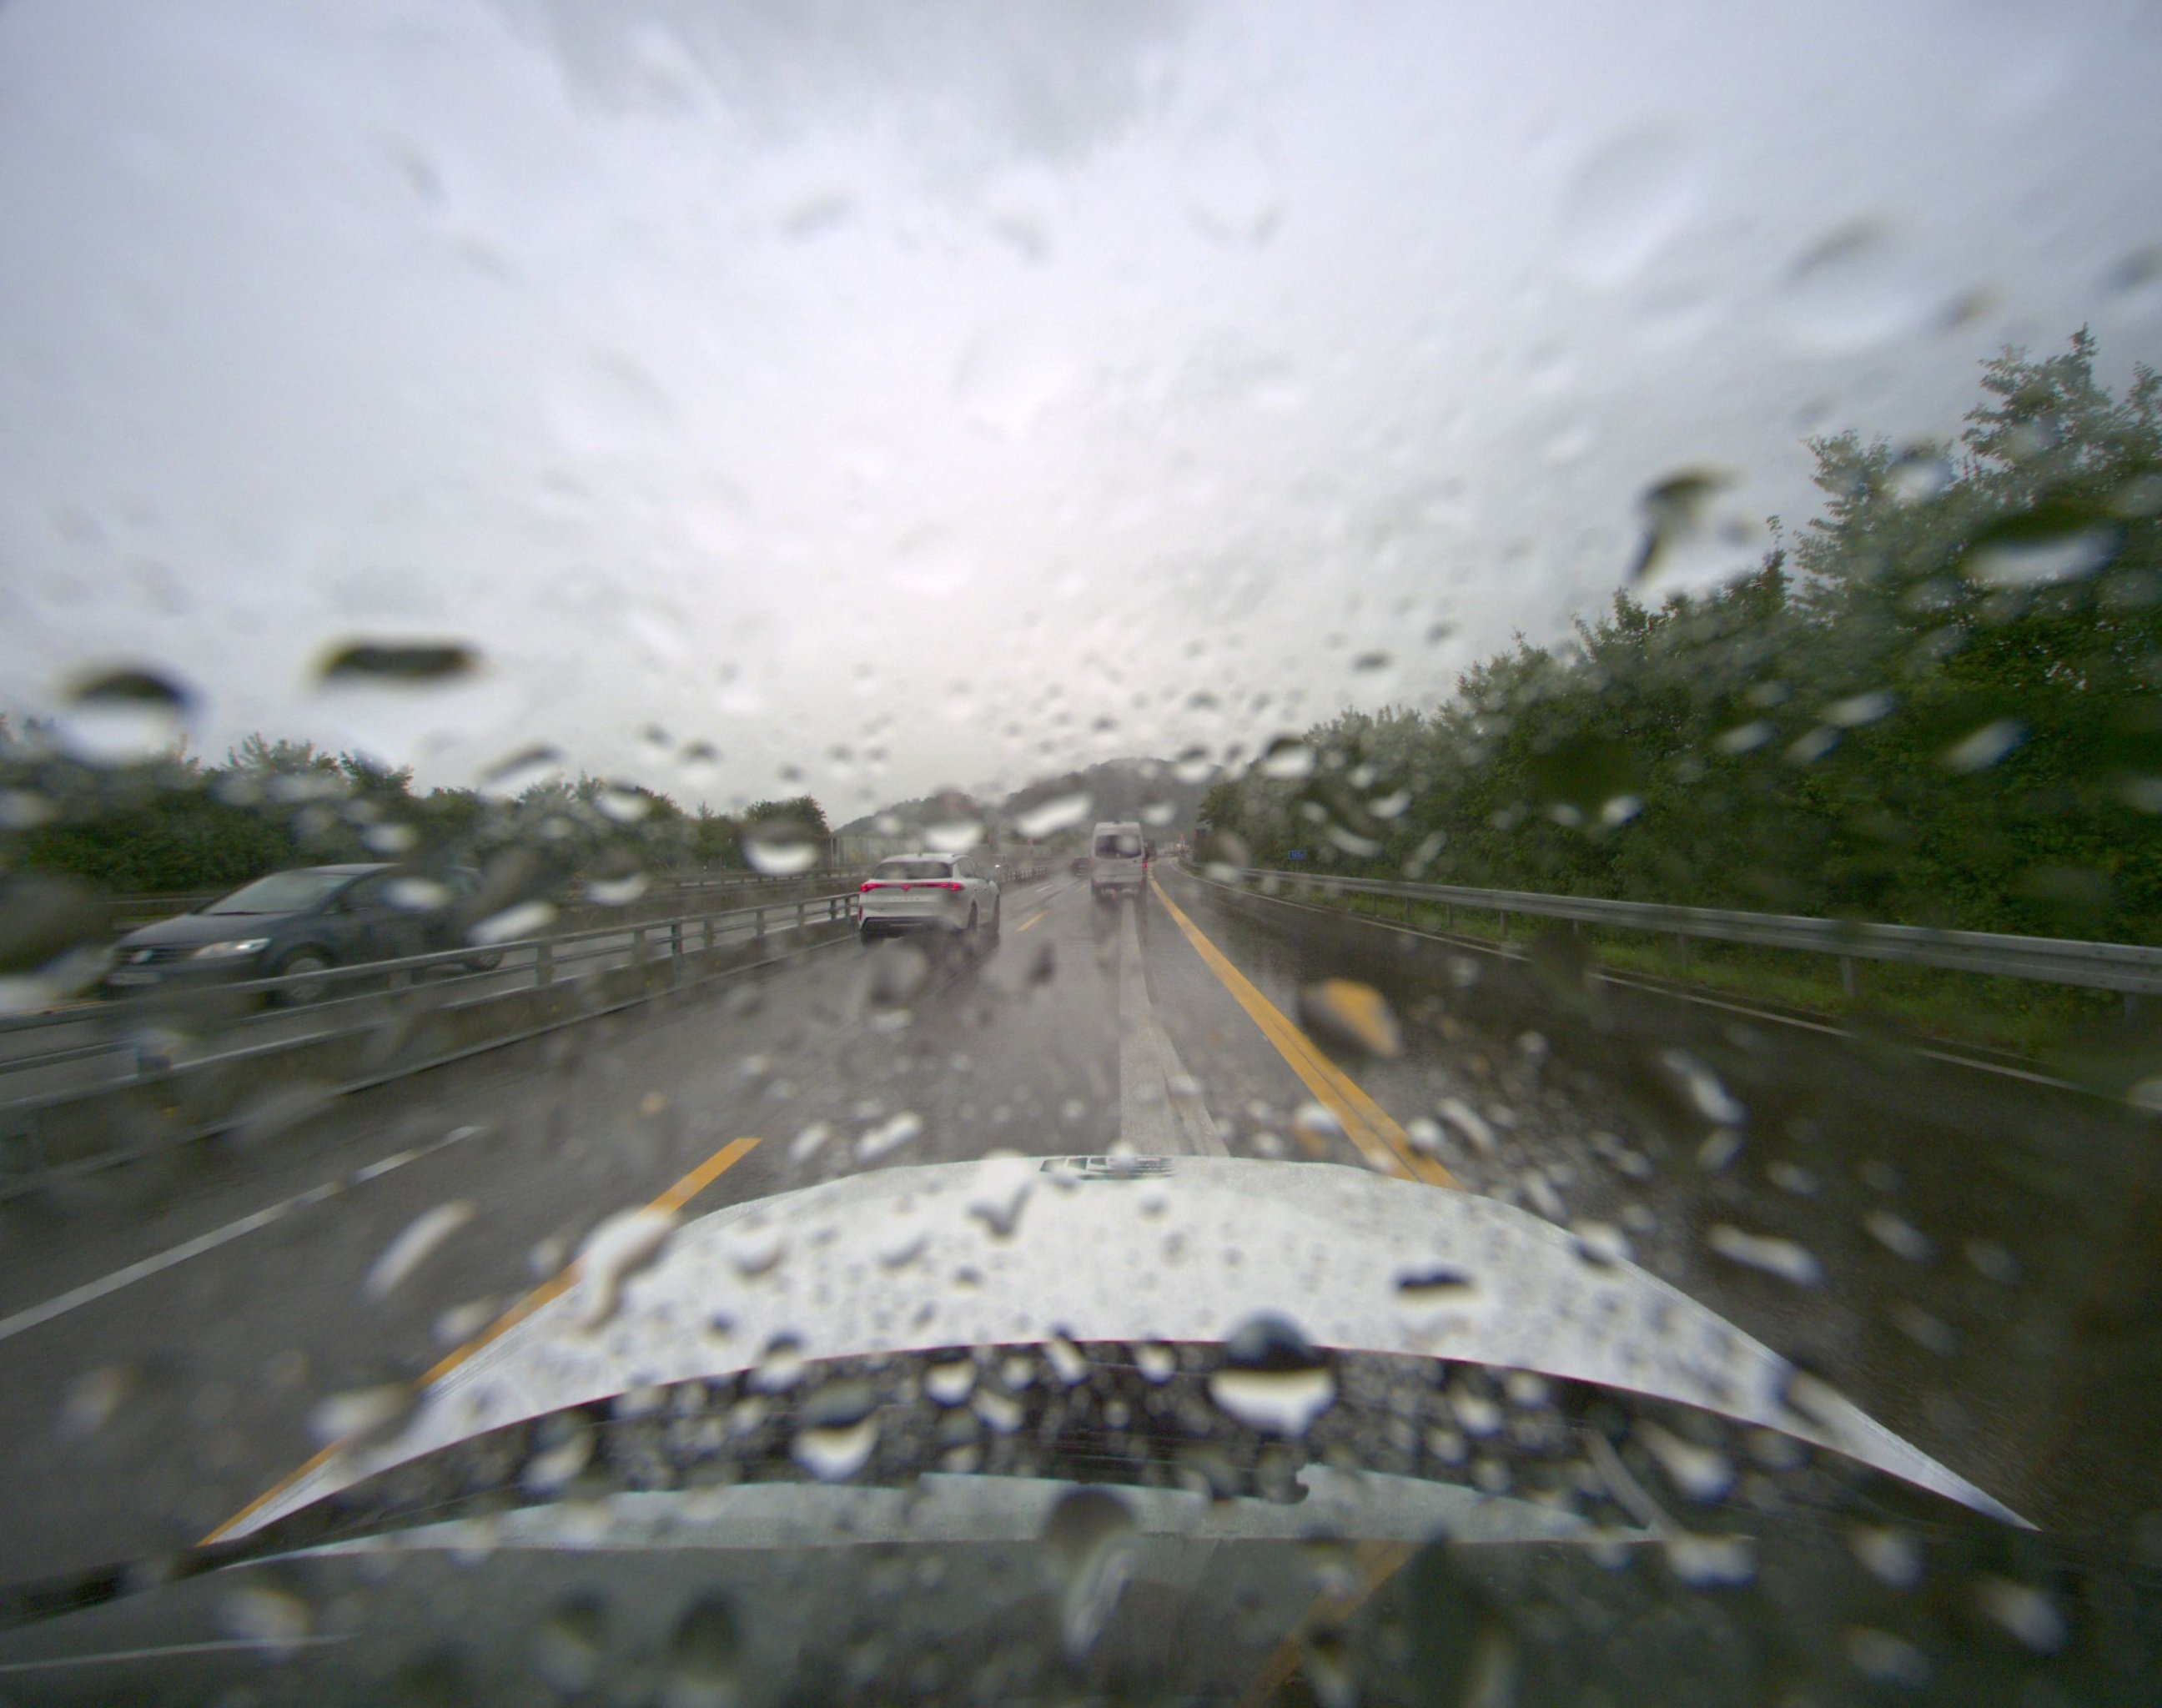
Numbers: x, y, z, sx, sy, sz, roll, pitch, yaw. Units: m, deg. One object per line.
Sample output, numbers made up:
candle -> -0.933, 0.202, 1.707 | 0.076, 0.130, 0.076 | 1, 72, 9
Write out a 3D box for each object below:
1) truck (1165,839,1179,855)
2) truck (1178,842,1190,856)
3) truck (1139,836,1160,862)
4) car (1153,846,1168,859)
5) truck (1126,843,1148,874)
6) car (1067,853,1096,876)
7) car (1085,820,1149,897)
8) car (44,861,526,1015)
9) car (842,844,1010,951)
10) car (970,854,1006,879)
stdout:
truck -> 25.486, -1.873, 227.663 | 3.017, 4.406, 9.650 | 0, 0, 10
truck -> 32.967, -1.498, 259.992 | 2.878, 4.406, 9.658 | -1, 0, 13
truck -> 12.174, -0.824, 144.175 | 3.563, 4.406, 9.639 | 0, 0, 6
car -> 18.607, -0.364, 191.369 | 2.880, 2.887, 6.430 | 0, 0, 11
truck -> 5.963, 0.484, 85.757 | 1.984, 3.109, 8.511 | 0, 0, 5
car -> 0.043, 0.733, 57.979 | 1.940, 1.561, 3.999 | 0, 0, 0
car -> 1.330, 0.162, 30.145 | 2.136, 2.571, 5.392 | 0, 0, 2
car -> -9.317, 0.851, 10.149 | 1.840, 1.502, 4.132 | 0, 0, 2
car -> -2.577, 0.674, 14.837 | 1.986, 1.617, 4.798 | 0, 0, 2
car -> -6.313, 0.842, 55.580 | 1.771, 1.604, 4.319 | 0, 0, 2
